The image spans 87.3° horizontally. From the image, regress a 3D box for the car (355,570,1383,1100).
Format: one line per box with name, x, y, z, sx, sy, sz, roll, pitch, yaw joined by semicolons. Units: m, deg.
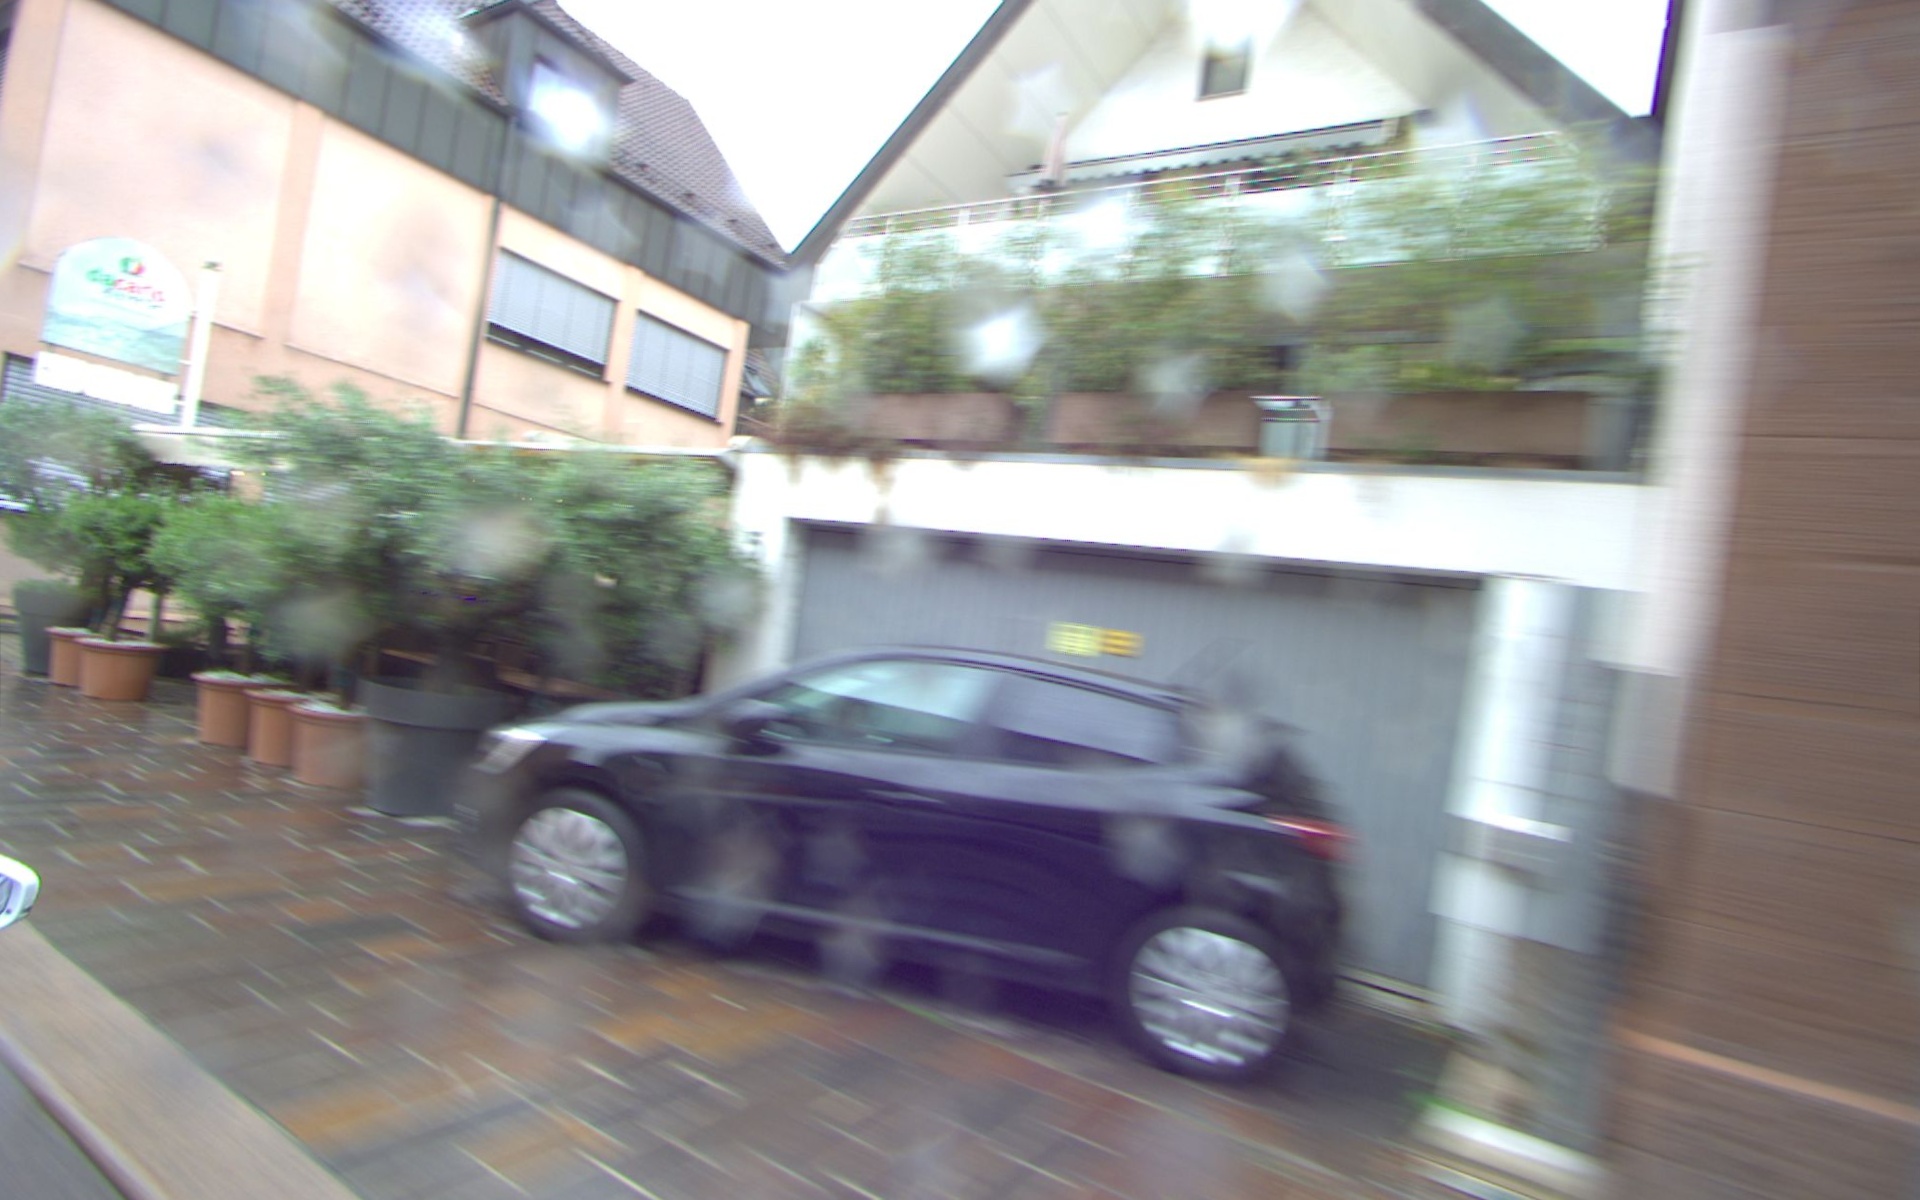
car;-0.365;0.868;4.695;3.862;1.372;1.741;8;-2;8
